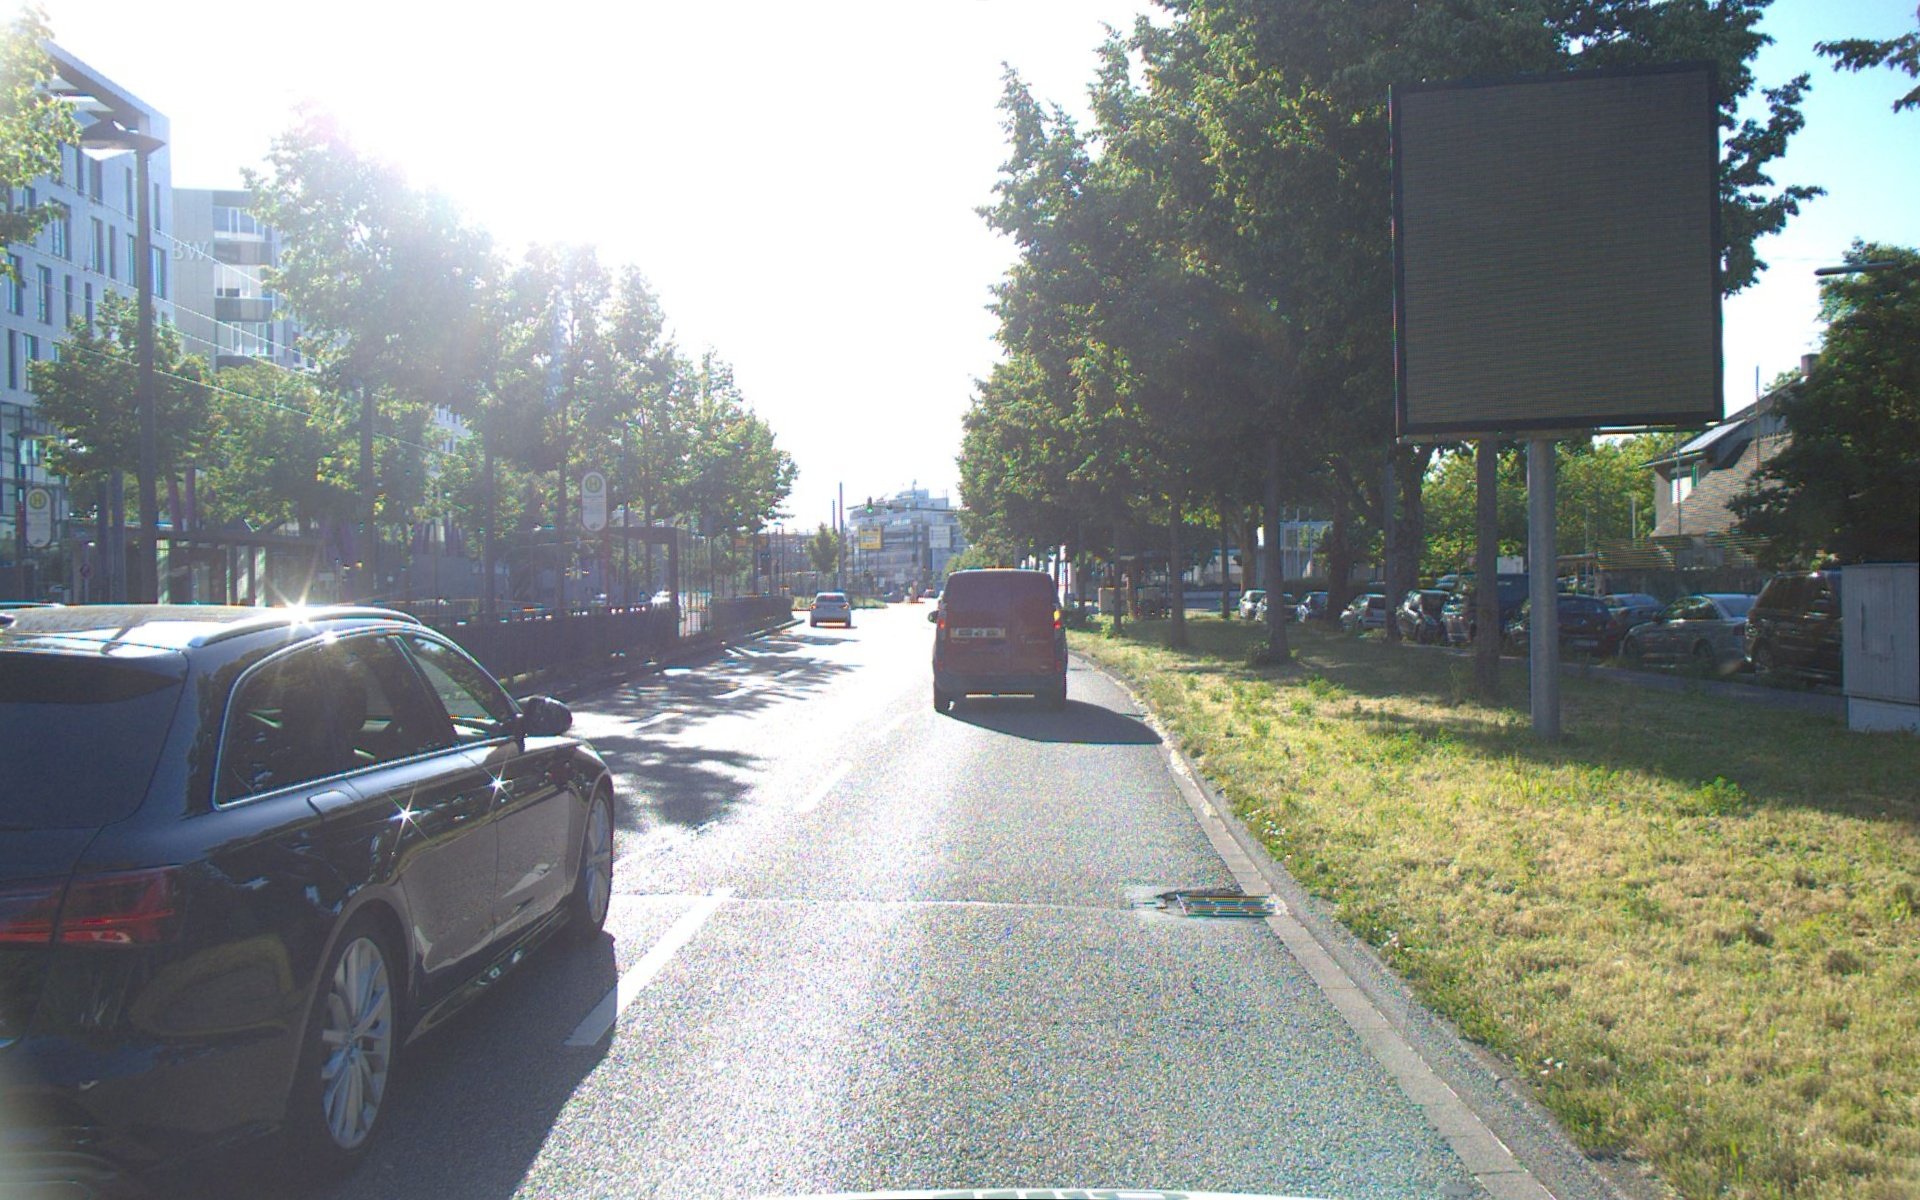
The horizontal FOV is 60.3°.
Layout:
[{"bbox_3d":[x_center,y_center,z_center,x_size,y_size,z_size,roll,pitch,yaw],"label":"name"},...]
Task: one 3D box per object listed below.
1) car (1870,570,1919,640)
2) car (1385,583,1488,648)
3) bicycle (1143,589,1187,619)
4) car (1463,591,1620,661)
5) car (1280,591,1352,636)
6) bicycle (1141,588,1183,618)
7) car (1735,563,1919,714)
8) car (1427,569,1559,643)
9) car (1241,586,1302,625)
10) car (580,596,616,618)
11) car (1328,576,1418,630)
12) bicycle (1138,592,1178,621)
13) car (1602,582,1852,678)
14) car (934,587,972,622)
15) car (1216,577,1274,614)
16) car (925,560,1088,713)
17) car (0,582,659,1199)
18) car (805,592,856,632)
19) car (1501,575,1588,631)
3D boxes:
[{"bbox_3d":[21.912,0.070,35.722,1.833,1.509,4.690,-2,0,-1],"label":"car"},{"bbox_3d":[13.357,0.428,46.589,1.832,1.713,4.001,1,0,2],"label":"car"},{"bbox_3d":[8.861,0.152,71.504,1.879,1.290,0.479,0,0,-1],"label":"bicycle"},{"bbox_3d":[12.376,0.536,35.458,1.833,1.391,3.998,1,0,-2],"label":"car"},{"bbox_3d":[14.173,0.521,66.096,1.834,1.713,3.997,1,0,-3],"label":"car"},{"bbox_3d":[8.848,0.138,72.492,1.742,1.290,0.479,1,-1,-1],"label":"bicycle"},{"bbox_3d":[12.611,0.494,22.366,1.833,1.852,4.890,1,0,-2],"label":"car"},{"bbox_3d":[12.994,0.152,40.581,1.833,1.713,3.998,1,0,-2],"label":"car"},{"bbox_3d":[14.097,0.243,75.037,1.834,1.713,3.997,1,0,-3],"label":"car"},{"bbox_3d":[-30.253,0.619,138.457,1.952,1.795,4.001,1,0,2],"label":"car"},{"bbox_3d":[13.903,0.107,55.884,1.834,1.713,3.997,-2,0,-3],"label":"car"},{"bbox_3d":[8.809,0.279,73.587,1.742,1.290,0.479,0,0,-1],"label":"bicycle"},{"bbox_3d":[12.880,0.483,28.167,1.833,1.459,4.900,1,0,-2],"label":"car"},{"bbox_3d":[-0.425,0.270,98.627,2.223,2.049,4.709,0,0,-1],"label":"car"},{"bbox_3d":[13.658,-0.188,79.465,1.834,1.713,3.997,1,0,-4],"label":"car"},{"bbox_3d":[0.546,0.461,22.551,1.773,1.870,3.996,1,0,-5],"label":"car"},{"bbox_3d":[-2.406,0.707,5.351,1.913,1.506,5.084,1,0,0],"label":"car"},{"bbox_3d":[-5.523,0.522,70.931,1.953,1.646,3.998,1,0,-2],"label":"car"},{"bbox_3d":[22.607,0.139,64.136,1.952,2.049,4.000,-2,-1,1],"label":"car"}]
